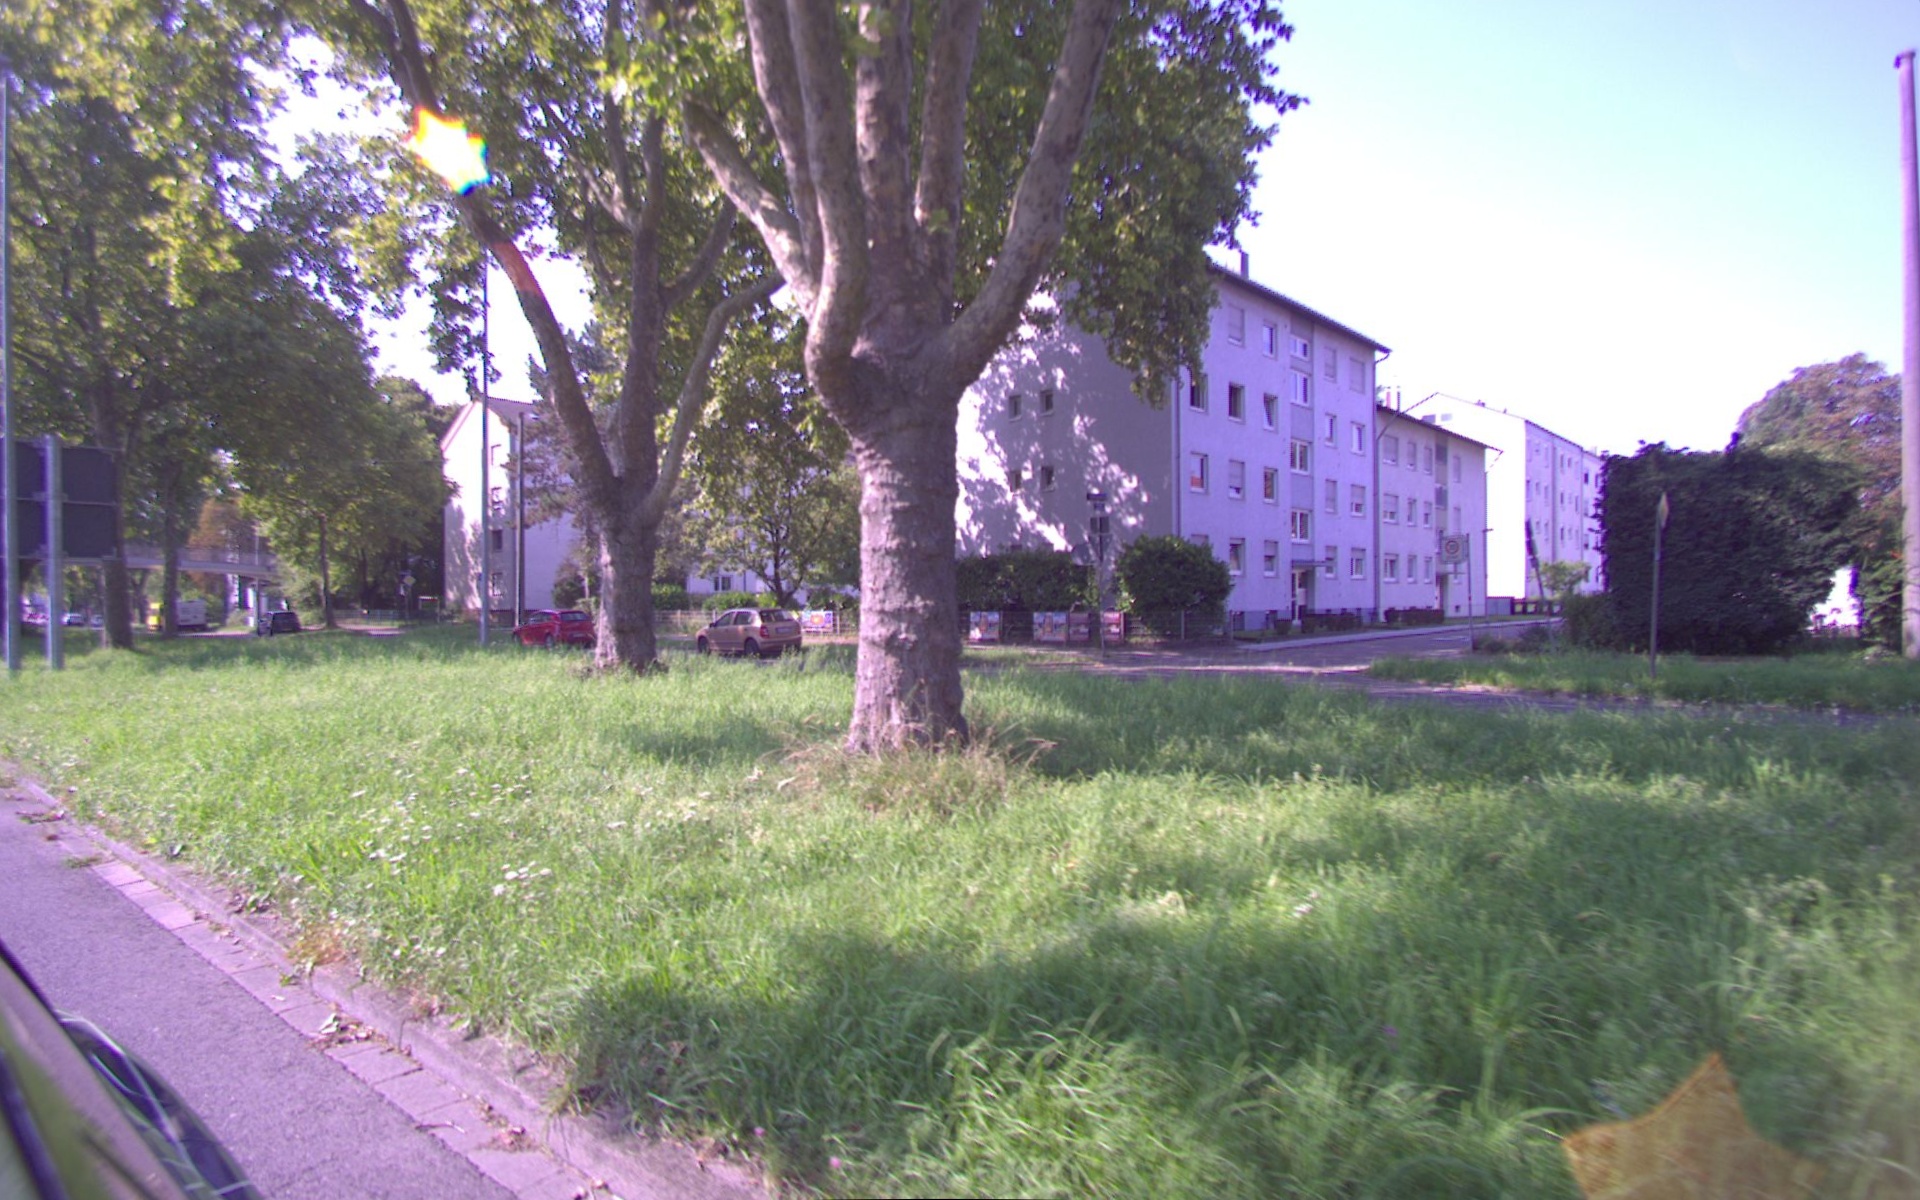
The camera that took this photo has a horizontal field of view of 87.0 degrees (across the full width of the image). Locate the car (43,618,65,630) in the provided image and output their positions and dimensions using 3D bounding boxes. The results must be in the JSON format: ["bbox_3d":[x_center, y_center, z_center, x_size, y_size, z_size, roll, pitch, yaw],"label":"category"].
[{"bbox_3d":[-118.357,3.172,132.238,4.067,1.544,1.673,-1,-1,41],"label":"car"}]

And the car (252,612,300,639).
[{"bbox_3d":[-41.738,1.538,61.736,3.862,1.544,1.506,-1,0,41],"label":"car"}]

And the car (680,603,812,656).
[{"bbox_3d":[-6.426,0.875,30.207,4.063,1.441,1.783,-2,0,42],"label":"car"}]

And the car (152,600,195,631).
[{"bbox_3d":[-66.893,1.300,86.003,2.182,2.498,6.065,-1,0,-44],"label":"car"}]

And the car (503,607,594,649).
[{"bbox_3d":[-15.429,1.033,37.869,4.063,1.462,1.522,-1,0,42],"label":"car"}]

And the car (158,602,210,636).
[{"bbox_3d":[-61.414,1.510,80.049,6.266,2.448,2.184,-1,2,43],"label":"car"}]

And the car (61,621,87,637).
[{"bbox_3d":[-103.000,3.399,117.612,4.719,1.733,1.783,-2,-1,42],"label":"car"}]

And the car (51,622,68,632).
[{"bbox_3d":[-143.008,4.302,160.665,1.767,1.544,4.458,-1,0,-45],"label":"car"}]

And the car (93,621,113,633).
[{"bbox_3d":[-109.149,3.433,128.850,1.626,1.490,3.901,-1,0,-44],"label":"car"}]
